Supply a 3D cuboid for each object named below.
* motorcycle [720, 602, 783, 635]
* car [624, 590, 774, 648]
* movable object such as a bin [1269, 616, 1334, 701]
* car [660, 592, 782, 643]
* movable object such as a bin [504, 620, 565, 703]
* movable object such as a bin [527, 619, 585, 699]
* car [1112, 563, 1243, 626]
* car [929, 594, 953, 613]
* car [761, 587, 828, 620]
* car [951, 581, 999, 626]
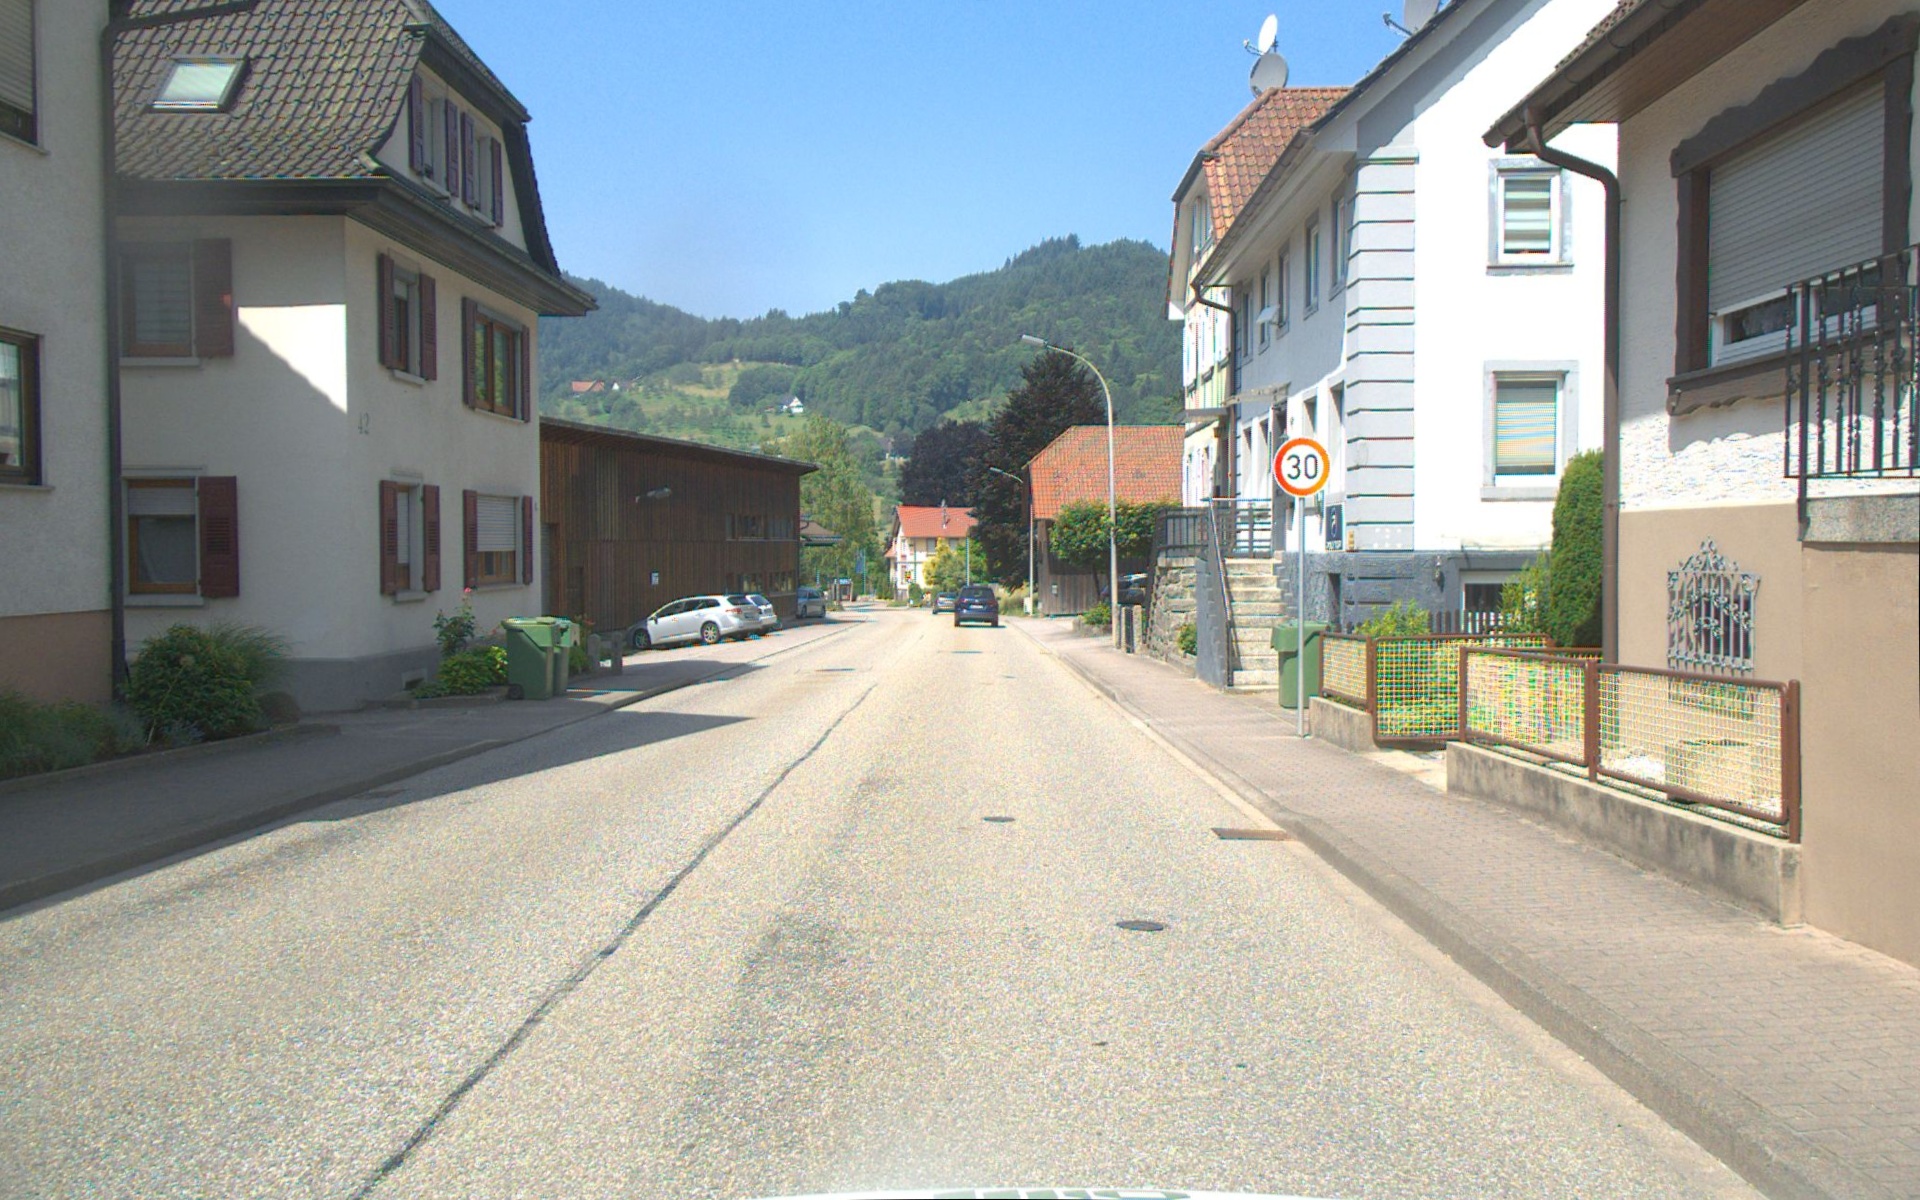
[{"bbox_3d":[-8.333,0.744,66.196,2.357,1.286,0.744,-1,0,10],"label":"motorcycle"},{"bbox_3d":[-8.350,0.619,52.803,4.342,1.500,1.923,-4,0,26],"label":"car"},{"bbox_3d":[4.319,0.730,20.930,0.690,1.038,0.618,-1,0,1],"label":"movable object such as a bin"},{"bbox_3d":[-8.030,0.596,55.653,3.582,1.409,1.712,-5,-1,15],"label":"car"},{"bbox_3d":[-5.801,0.832,22.550,0.662,1.085,0.653,-1,0,-2],"label":"movable object such as a bin"},{"bbox_3d":[-5.682,0.823,23.301,0.662,1.085,0.621,-1,0,-2],"label":"movable object such as a bin"},{"bbox_3d":[7.333,-0.198,56.061,4.134,1.716,1.777,-5,0,3],"label":"car"},{"bbox_3d":[-1.323,0.239,112.011,1.448,1.230,2.382,-2,0,-5],"label":"car"},{"bbox_3d":[-7.948,0.137,79.833,1.692,1.479,4.809,0,1,13],"label":"car"},{"bbox_3d":[0.590,0.123,67.164,1.880,1.728,3.788,-1,0,0],"label":"car"}]
